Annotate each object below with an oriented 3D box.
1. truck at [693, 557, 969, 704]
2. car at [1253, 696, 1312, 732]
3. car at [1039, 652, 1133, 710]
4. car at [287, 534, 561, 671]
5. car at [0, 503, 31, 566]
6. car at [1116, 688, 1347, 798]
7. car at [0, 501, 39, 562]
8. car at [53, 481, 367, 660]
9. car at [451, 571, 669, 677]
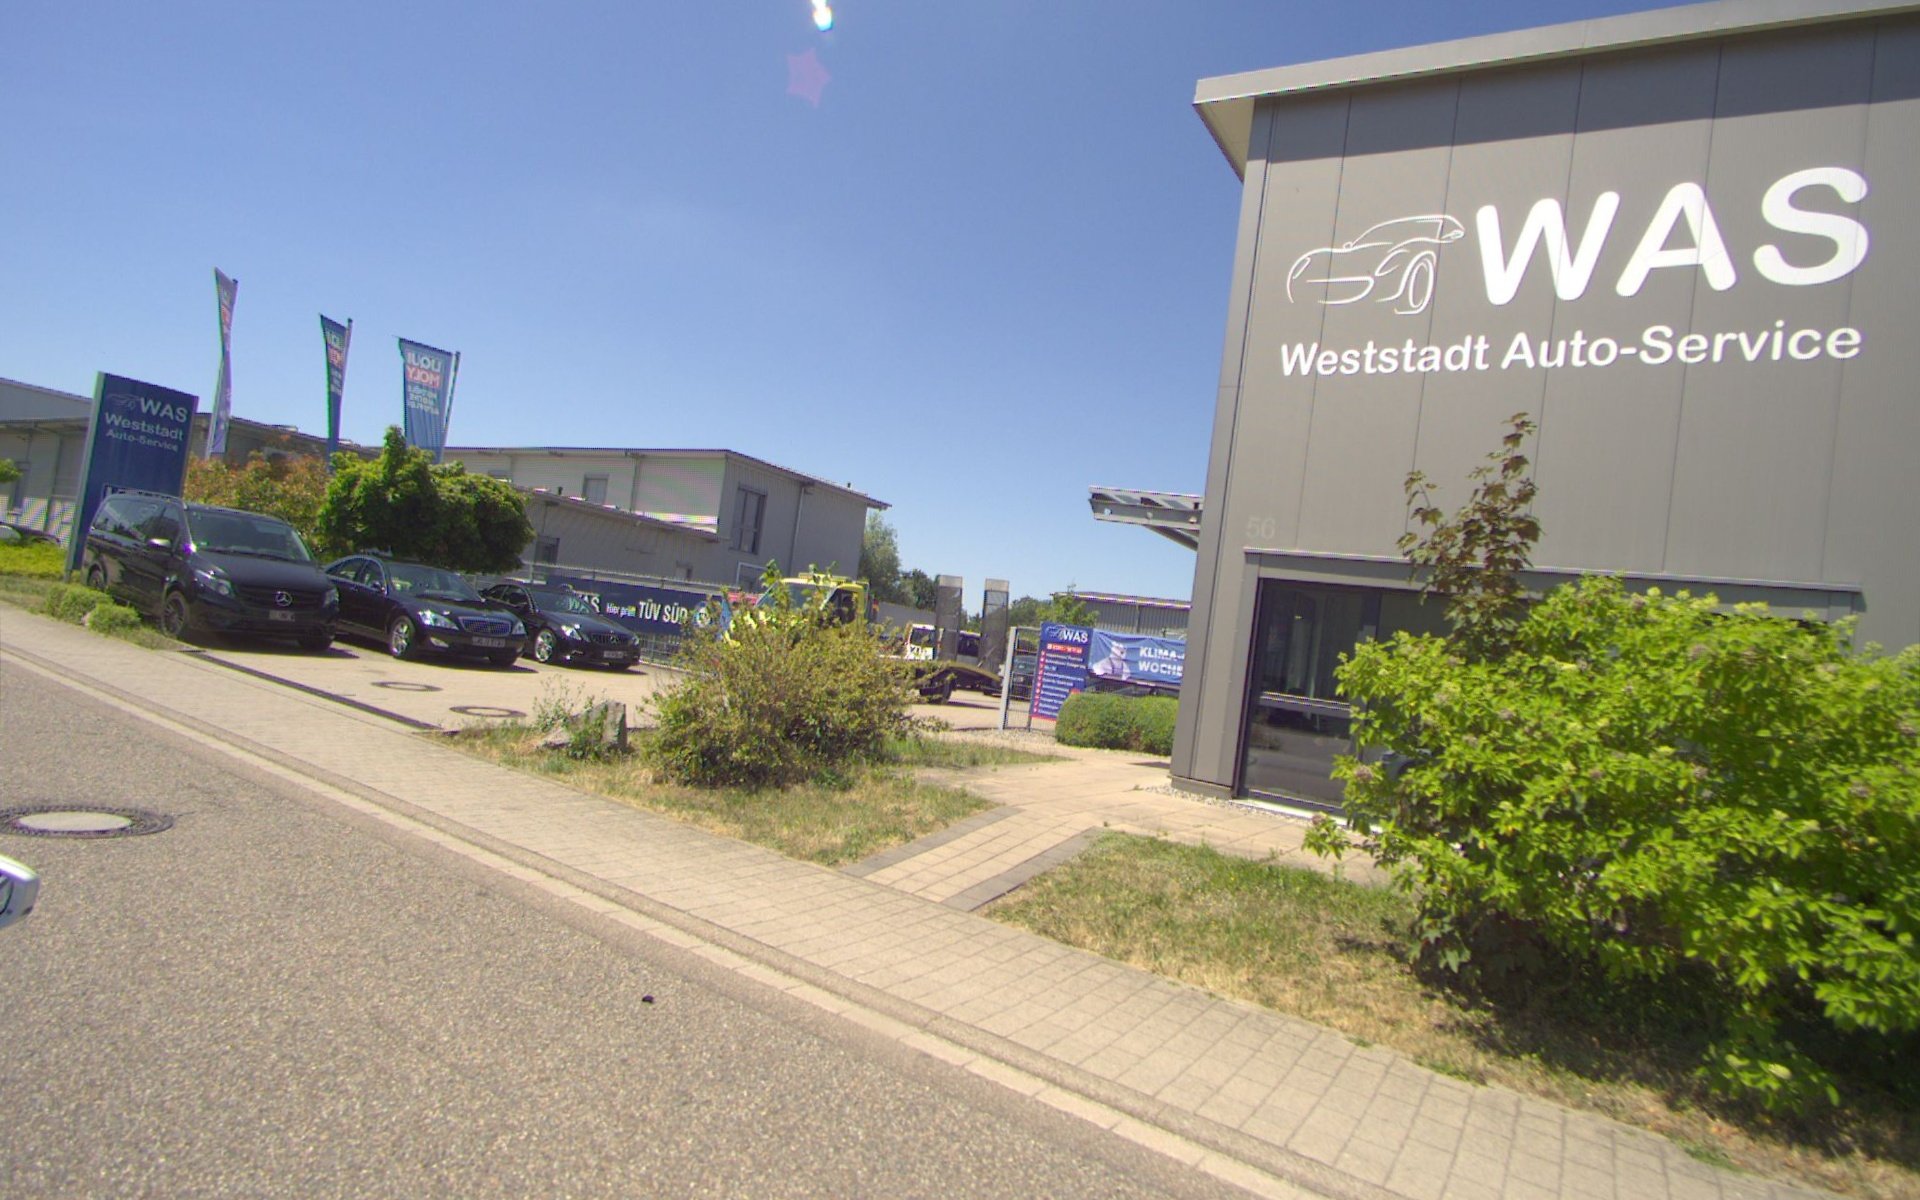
[{"bbox_3d":[-2.436,0.776,21.039,2.146,2.397,5.942,6,-3,34],"label":"truck"},{"bbox_3d":[16.337,5.810,50.917,1.695,1.432,3.912,6,-5,34],"label":"car"},{"bbox_3d":[4.125,2.638,32.358,1.692,1.432,3.919,6,-4,26],"label":"car"},{"bbox_3d":[-8.929,0.016,16.643,4.517,1.554,1.997,8,-2,34],"label":"car"},{"bbox_3d":[-26.040,-1.884,25.937,1.390,1.558,2.709,6,-2,35],"label":"car"},{"bbox_3d":[4.766,2.457,17.803,3.514,1.321,1.587,5,-2,35],"label":"car"},{"bbox_3d":[-27.930,-2.137,27.468,1.883,1.558,3.697,6,-2,35],"label":"car"},{"bbox_3d":[-11.362,-0.504,15.107,5.251,2.036,1.997,6,-2,34],"label":"car"},{"bbox_3d":[-7.731,0.434,19.352,4.049,1.386,1.805,8,-2,34],"label":"car"}]
